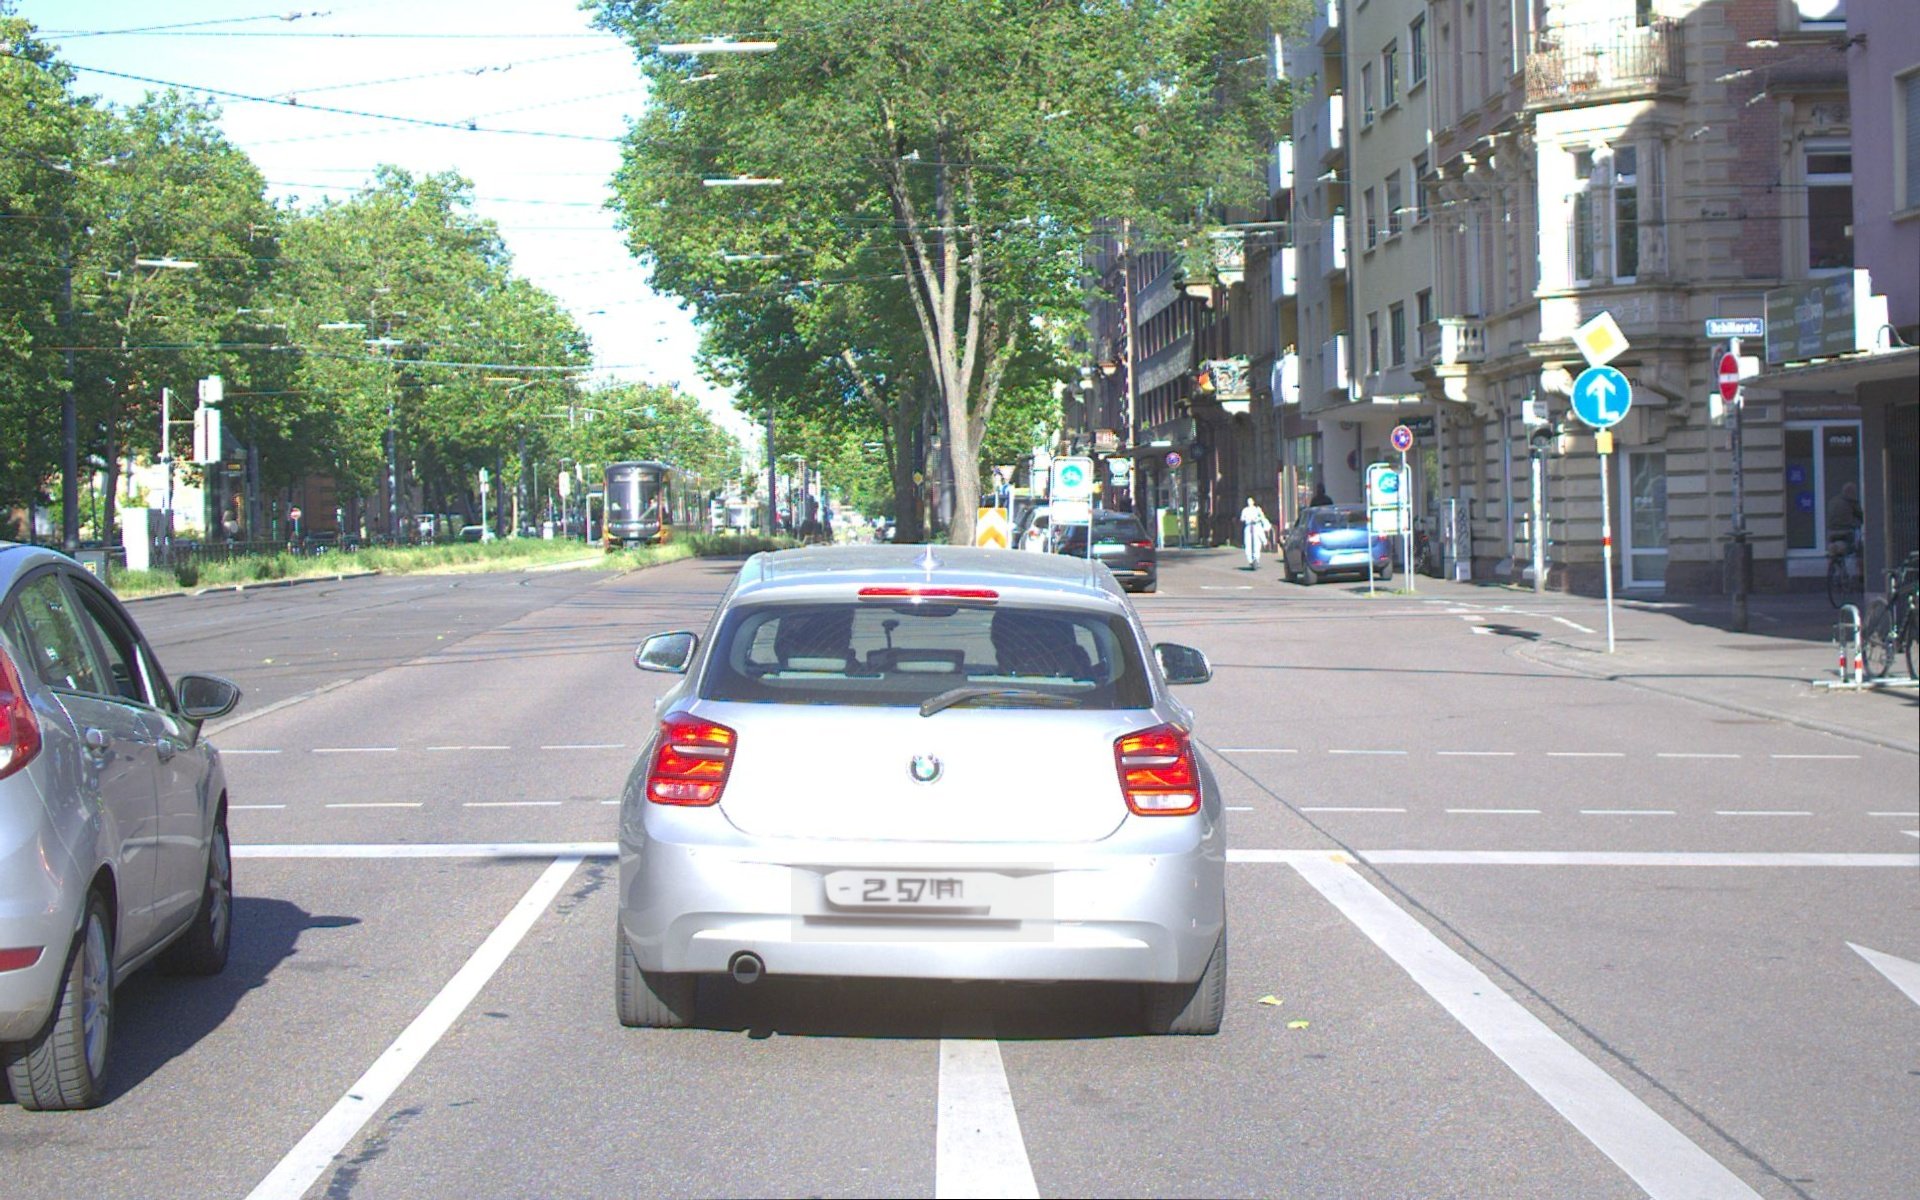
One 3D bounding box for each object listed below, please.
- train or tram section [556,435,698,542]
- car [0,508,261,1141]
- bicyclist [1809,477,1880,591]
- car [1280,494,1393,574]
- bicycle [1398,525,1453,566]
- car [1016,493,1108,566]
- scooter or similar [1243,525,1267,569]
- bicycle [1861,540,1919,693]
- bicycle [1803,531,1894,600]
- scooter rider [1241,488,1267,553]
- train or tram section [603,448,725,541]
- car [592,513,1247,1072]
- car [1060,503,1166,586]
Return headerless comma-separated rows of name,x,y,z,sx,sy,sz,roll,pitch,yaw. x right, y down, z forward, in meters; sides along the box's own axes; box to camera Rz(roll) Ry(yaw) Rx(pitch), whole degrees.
train or tram section,-12.793,-4.342,134.044,3.969,3.852,17.490,-1,2,-1
car,-3.068,0.484,9.895,1.609,1.462,3.891,-1,2,-5
bicyclist,11.859,-0.889,46.086,0.548,1.496,0.959,0,2,41
car,7.389,-1.316,67.670,1.735,1.514,3.637,0,2,-1
bicycle,9.203,-1.080,67.997,0.754,0.768,1.946,-1,2,-2
car,2.143,-1.513,73.073,1.724,1.501,3.555,0,2,-2
scooter or similar,6.782,-1.231,79.102,0.337,0.984,1.283,0,2,14
bicycle,7.454,0.112,27.070,0.414,1.137,1.809,0,2,6
bicycle,11.920,-0.472,46.109,0.654,0.900,1.335,1,2,41
scooter rider,6.769,-1.826,79.083,0.465,1.500,0.810,0,1,13
train or tram section,-12.891,-4.643,151.483,4.005,3.852,17.490,-1,2,-1
car,-0.136,0.469,11.234,1.740,1.462,4.001,1,2,-1
car,2.719,-1.028,61.884,1.735,1.428,3.678,0,2,0
